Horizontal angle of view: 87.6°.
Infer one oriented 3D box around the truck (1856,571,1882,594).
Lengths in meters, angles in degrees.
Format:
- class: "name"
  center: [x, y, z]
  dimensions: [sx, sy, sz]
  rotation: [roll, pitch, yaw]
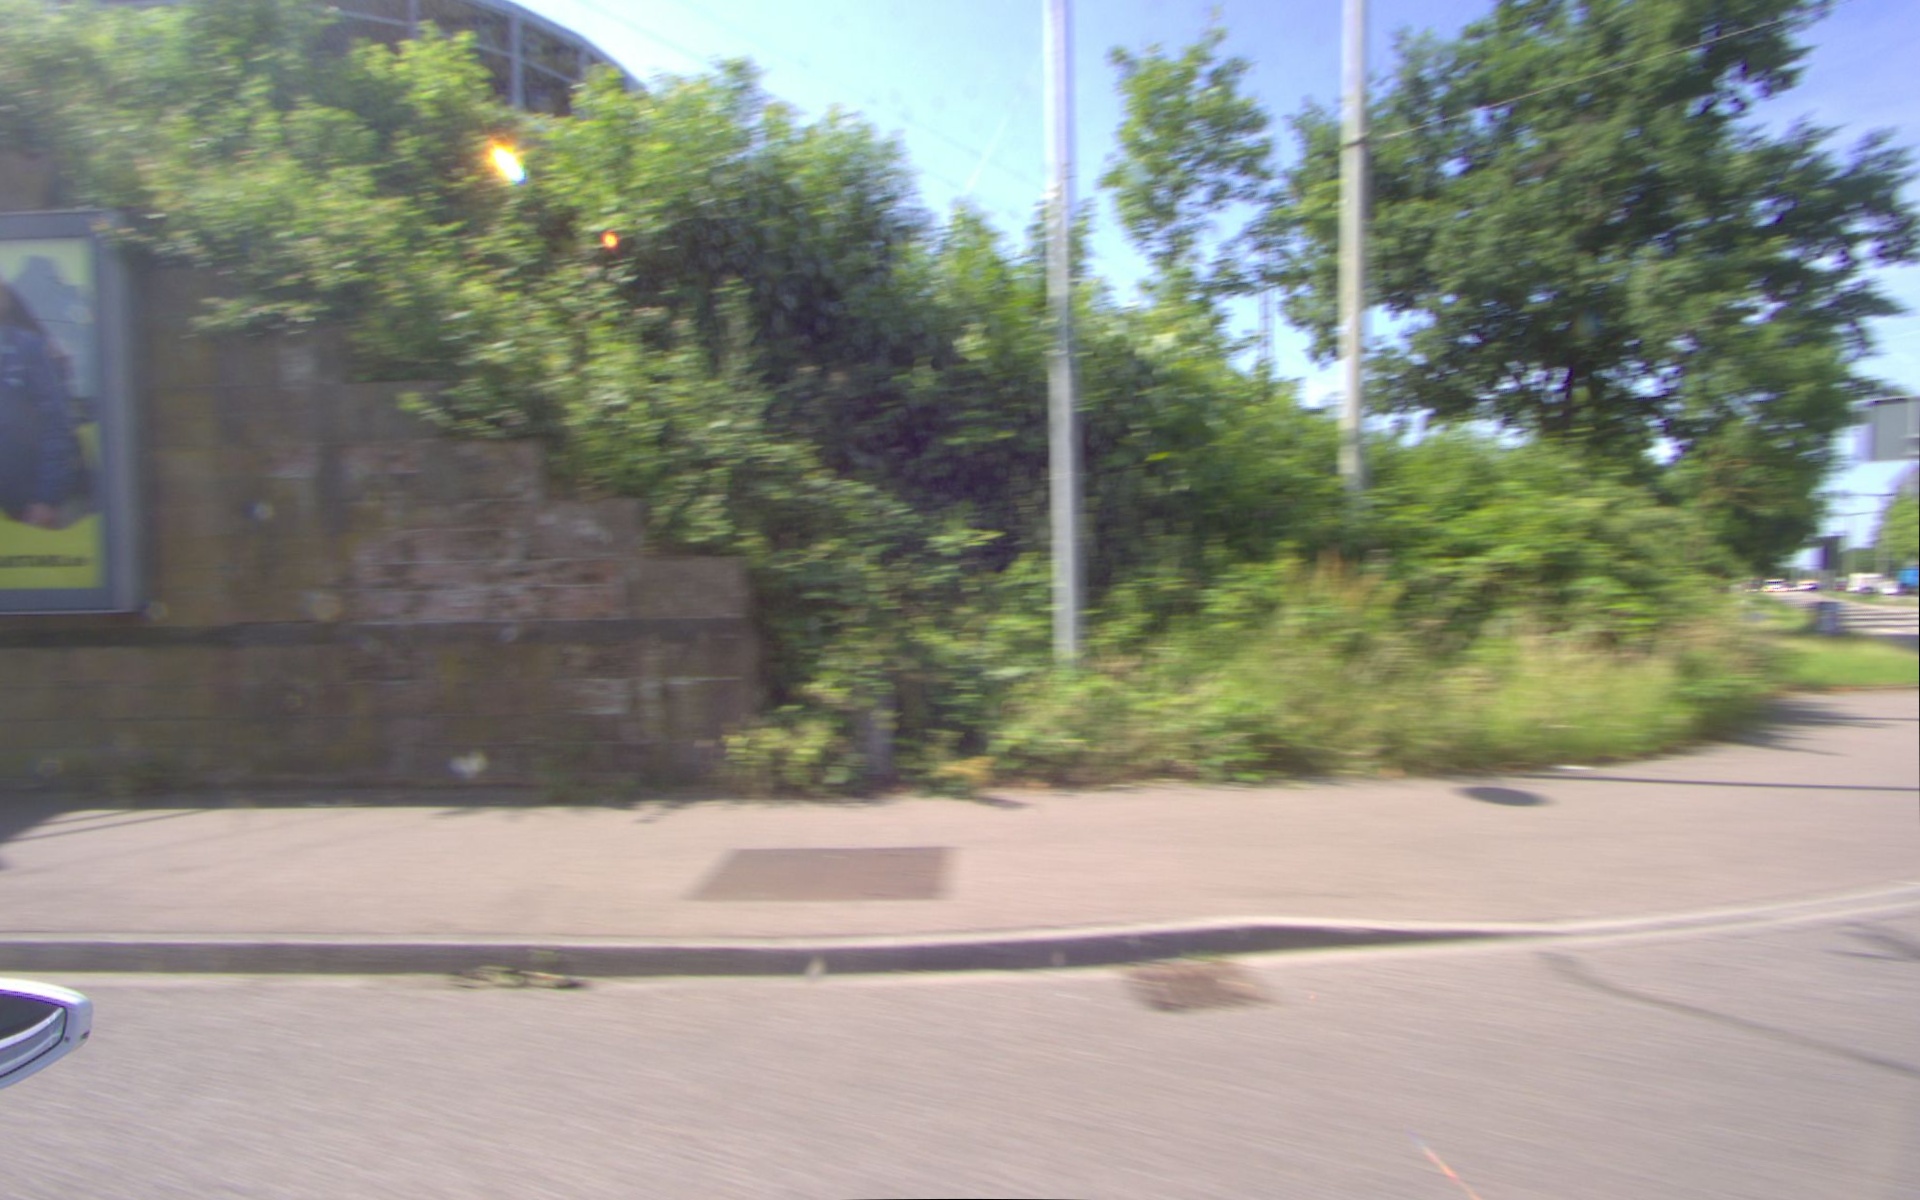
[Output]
- class: "truck"
  center: [145.265, -2.775, 160.103]
  dimensions: [2.818, 3.625, 8.647]
  rotation: [0, 0, 41]
